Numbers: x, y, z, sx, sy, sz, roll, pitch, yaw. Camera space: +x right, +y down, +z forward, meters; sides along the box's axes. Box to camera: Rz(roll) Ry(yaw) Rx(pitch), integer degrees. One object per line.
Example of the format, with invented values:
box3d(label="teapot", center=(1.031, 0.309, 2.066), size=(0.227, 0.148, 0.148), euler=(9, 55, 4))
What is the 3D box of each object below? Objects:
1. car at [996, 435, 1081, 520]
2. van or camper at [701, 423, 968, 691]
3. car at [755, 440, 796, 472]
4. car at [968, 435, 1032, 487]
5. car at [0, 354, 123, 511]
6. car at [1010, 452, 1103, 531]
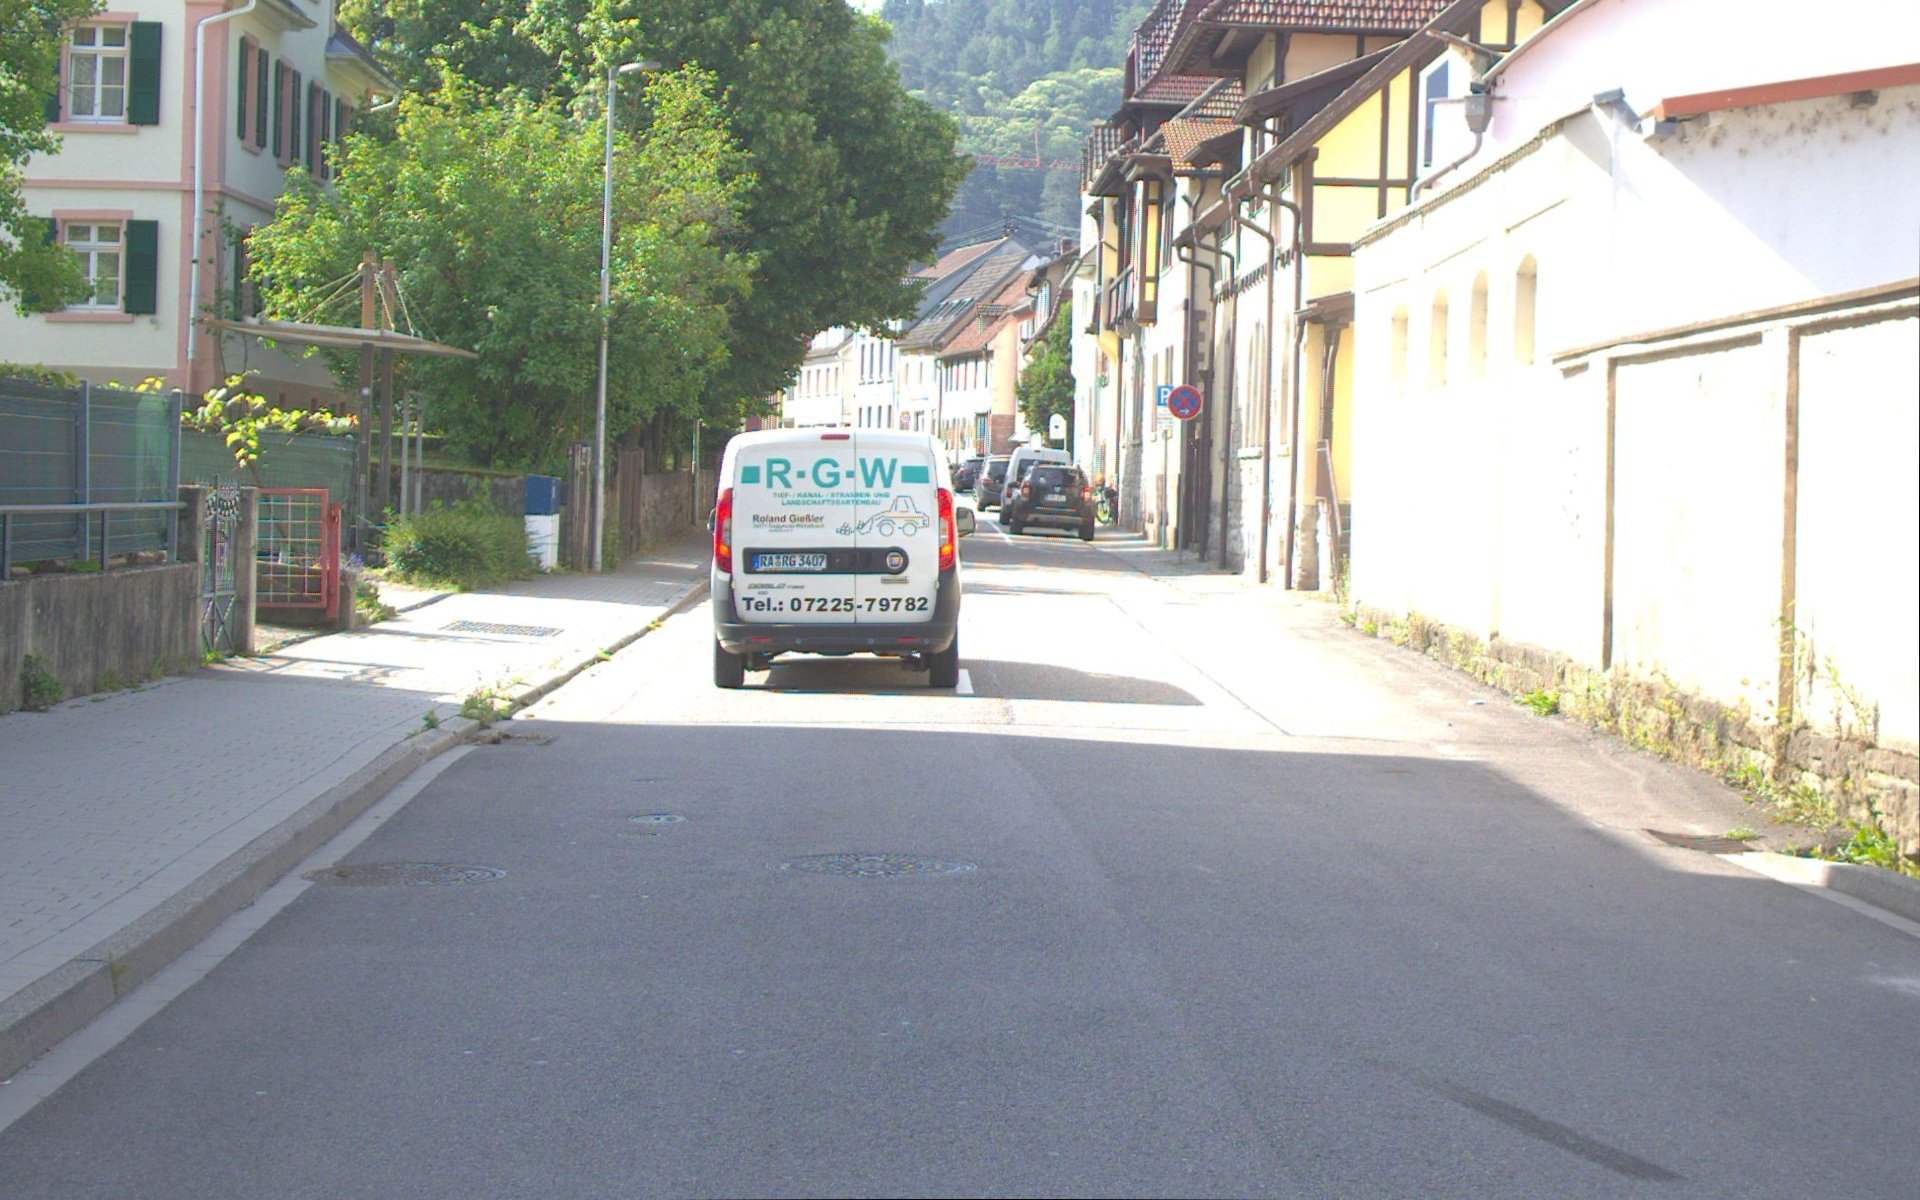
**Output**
box3d(label="car", center=(1.966, -3.114, 87.017), size=(1.871, 2.006, 4.001), euler=(3, 2, -1))
box3d(label="van or camper", center=(-0.937, -0.378, 25.832), size=(1.828, 1.838, 4.189), euler=(1, 2, -2))
box3d(label="car", center=(-10.854, -8.492, 202.199), size=(1.771, 1.792, 4.002), euler=(2, 2, -12))
box3d(label="car", center=(1.172, -4.194, 103.421), size=(1.669, 1.503, 4.001), euler=(1, 2, -3))
box3d(label="car", center=(-11.644, -2.084, 41.830), size=(1.822, 1.766, 4.683), euler=(5, 2, -3))
box3d(label="car", center=(2.130, -2.448, 76.812), size=(1.810, 1.591, 3.927), euler=(4, 3, -1))
